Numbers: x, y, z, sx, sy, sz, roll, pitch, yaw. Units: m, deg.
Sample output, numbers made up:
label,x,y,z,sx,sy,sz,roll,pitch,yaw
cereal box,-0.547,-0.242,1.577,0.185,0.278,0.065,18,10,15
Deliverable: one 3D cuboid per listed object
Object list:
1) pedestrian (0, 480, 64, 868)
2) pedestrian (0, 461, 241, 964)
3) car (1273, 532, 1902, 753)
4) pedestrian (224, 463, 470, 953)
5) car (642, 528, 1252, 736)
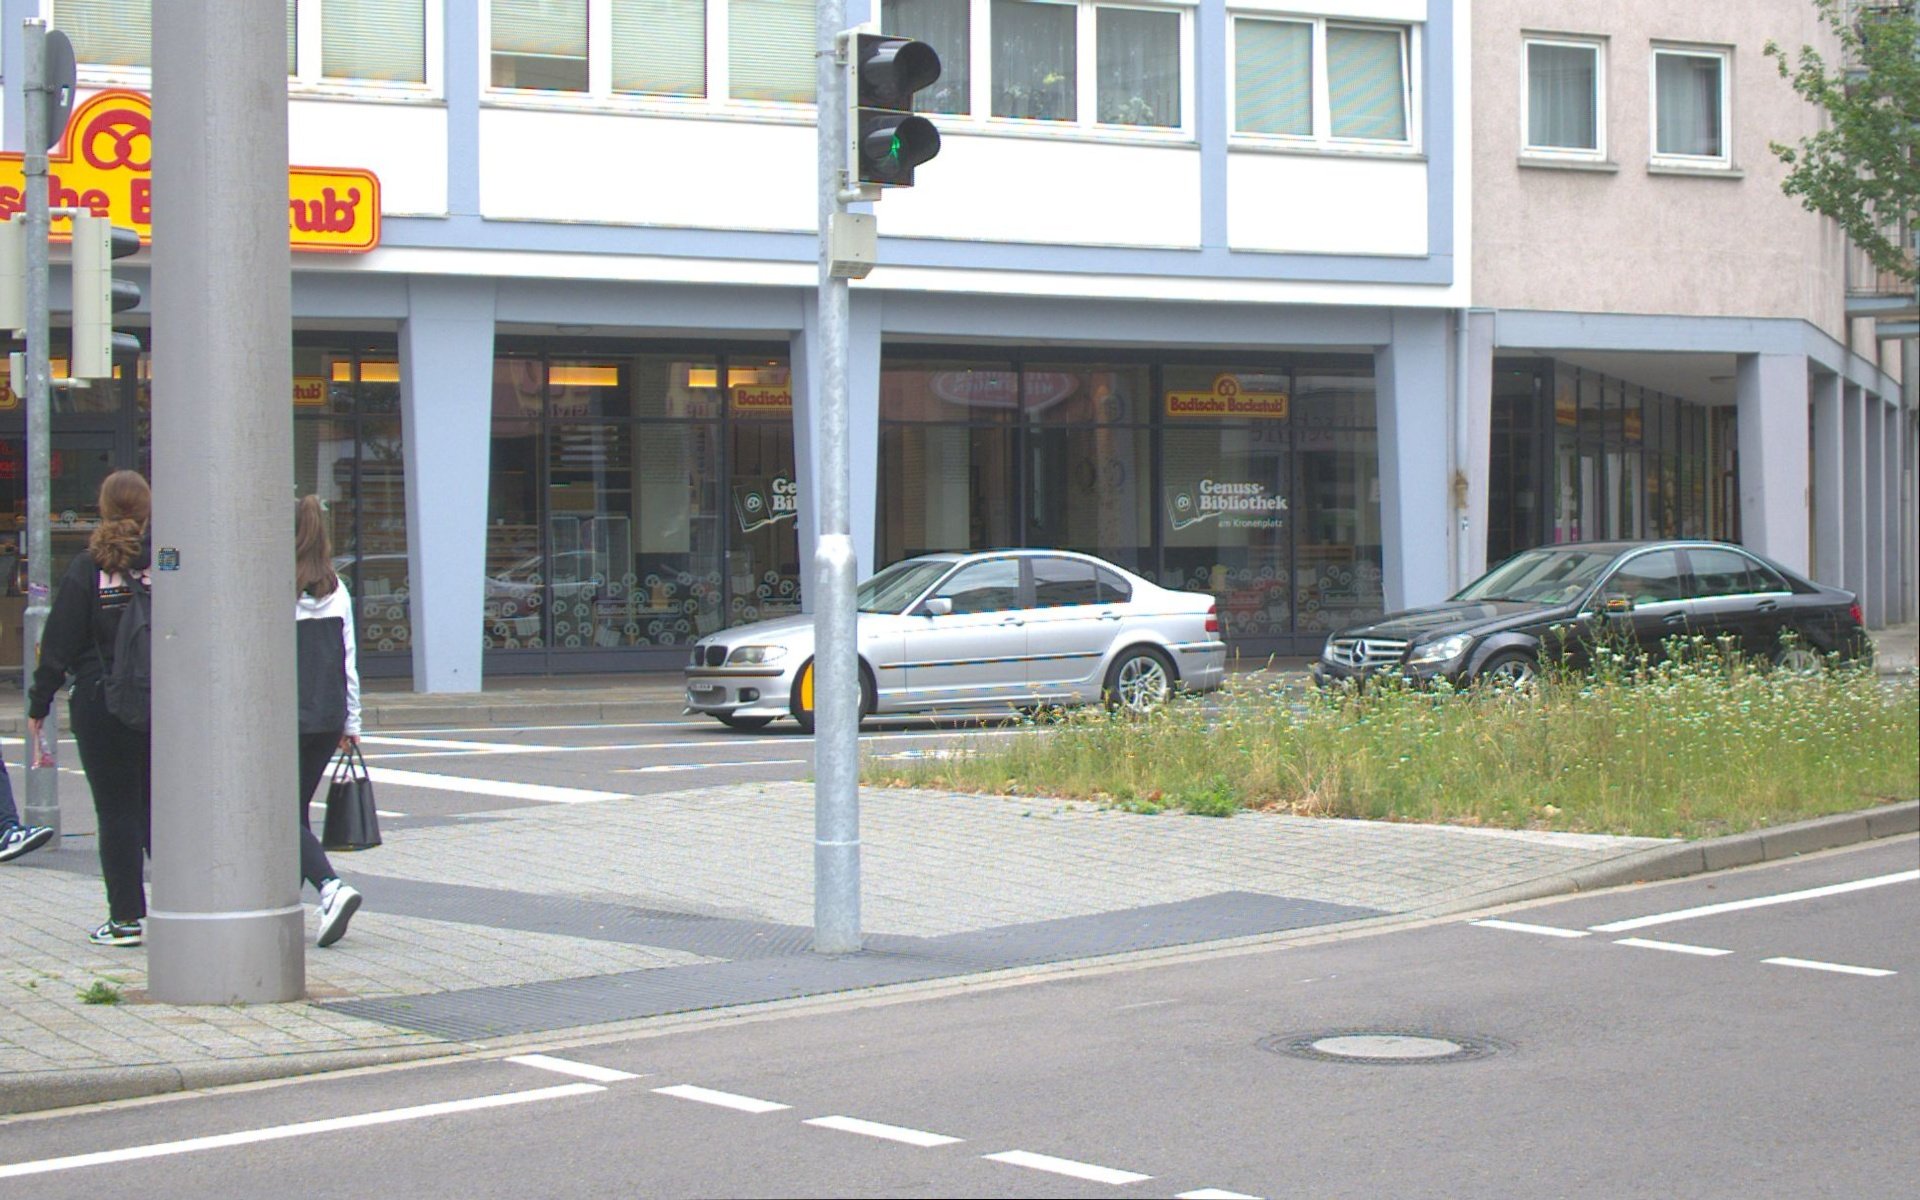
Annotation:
label,x,y,z,sx,sy,sz,roll,pitch,yaw
pedestrian,-4.849,0.341,16.564,0.713,1.826,1.017,0,0,-34
pedestrian,-3.066,0.388,12.484,0.621,1.755,0.779,0,0,-34
car,4.752,0.267,25.861,4.551,1.476,1.749,-2,1,-29
pedestrian,-2.287,0.382,12.790,0.621,1.755,0.779,0,0,-34
car,-0.076,0.208,27.348,4.551,1.476,1.749,-2,1,-29
